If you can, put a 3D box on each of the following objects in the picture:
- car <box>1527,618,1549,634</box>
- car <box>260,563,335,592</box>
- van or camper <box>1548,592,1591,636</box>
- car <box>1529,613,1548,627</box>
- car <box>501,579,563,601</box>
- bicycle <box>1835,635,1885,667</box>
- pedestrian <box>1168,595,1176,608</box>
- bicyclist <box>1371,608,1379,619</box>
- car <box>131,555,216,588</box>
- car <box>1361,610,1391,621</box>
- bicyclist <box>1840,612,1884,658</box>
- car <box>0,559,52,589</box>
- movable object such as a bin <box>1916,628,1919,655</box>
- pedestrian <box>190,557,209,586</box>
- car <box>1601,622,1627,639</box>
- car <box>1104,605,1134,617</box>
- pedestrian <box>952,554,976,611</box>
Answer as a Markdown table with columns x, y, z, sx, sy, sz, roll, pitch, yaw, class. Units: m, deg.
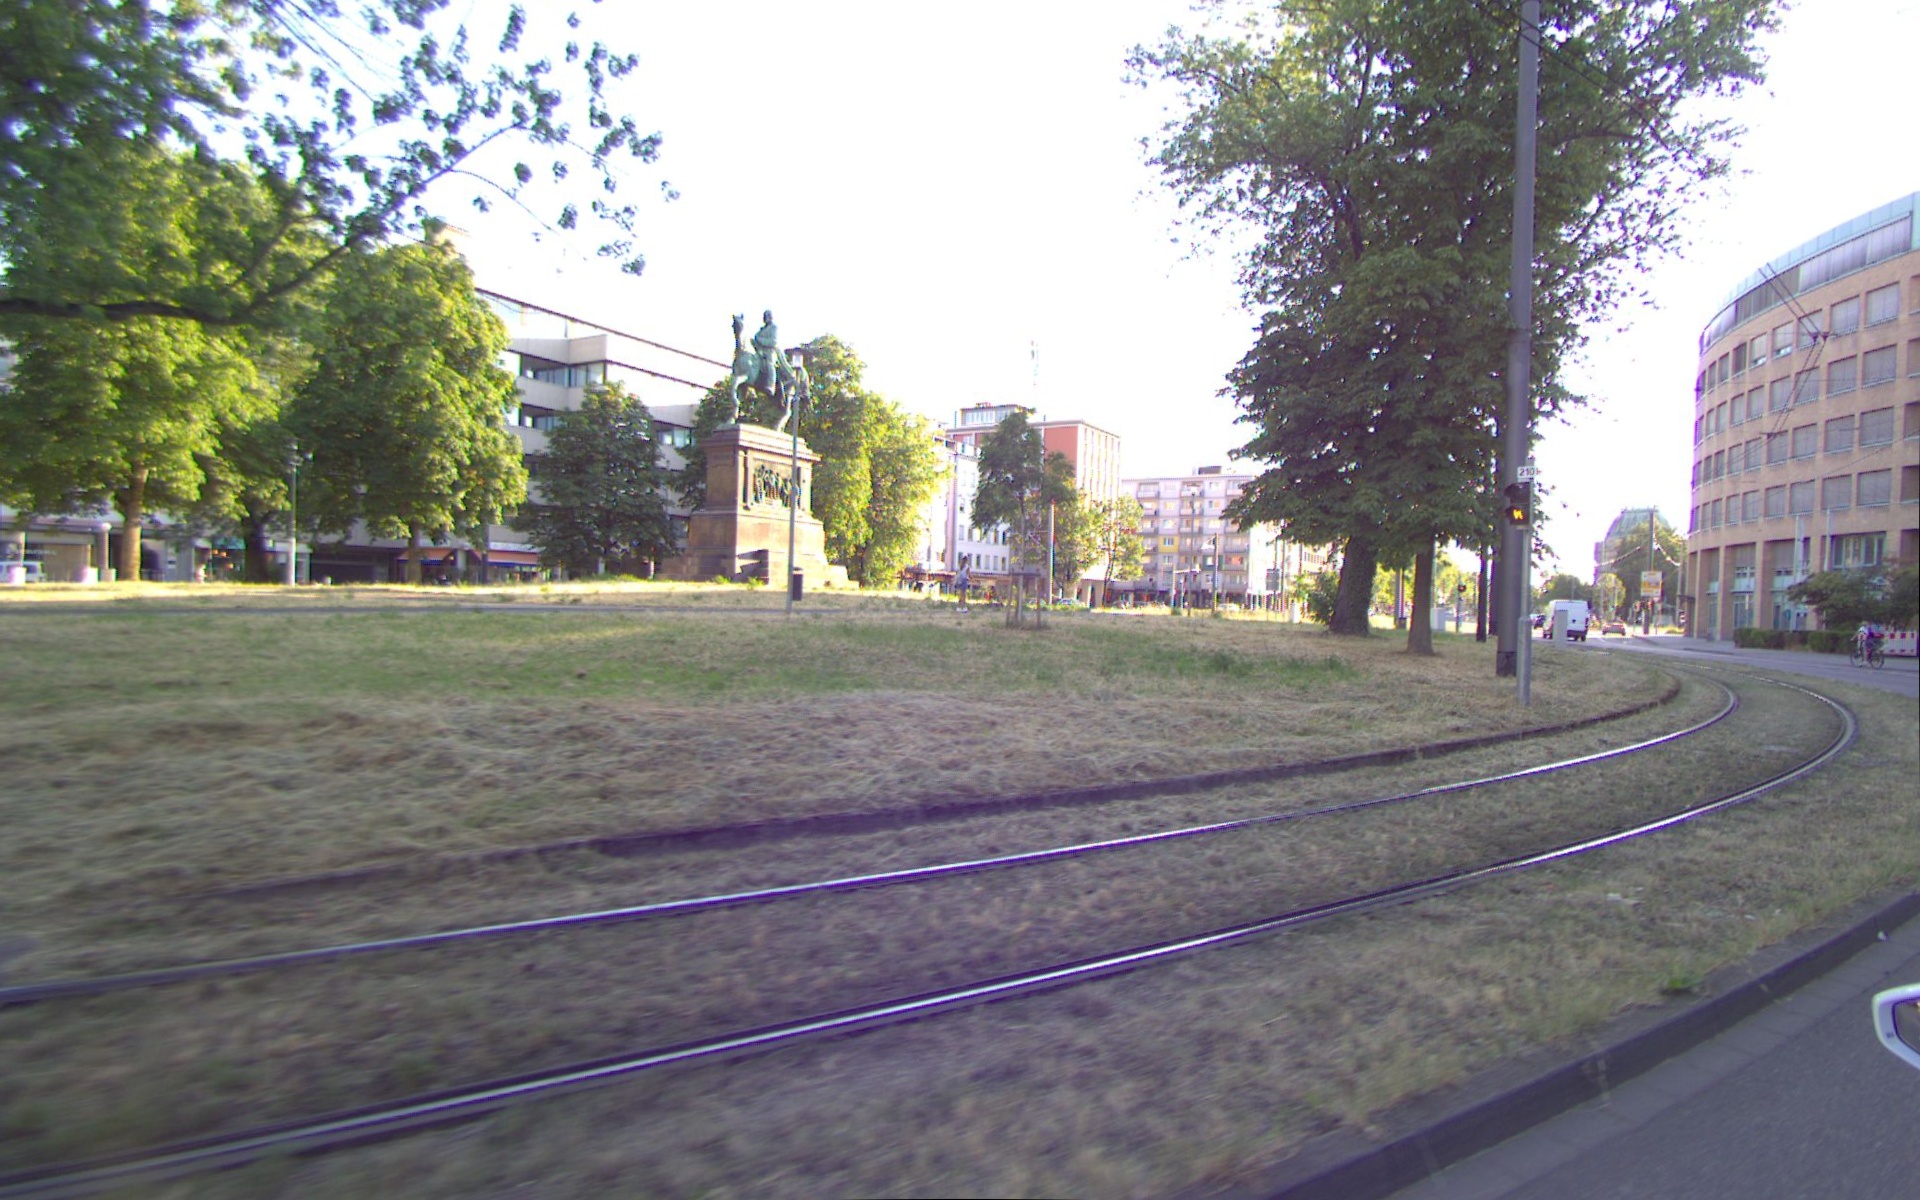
| x | y | z | sx | sy | sz | roll | pitch | yaw | class |
| --- | --- | --- | --- | --- | --- | --- | --- | --- | --- |
| 57.822 | 2.549 | 100.437 | 1.713 | 1.404 | 3.990 | 2 | 1 | 32 | car |
| -44.522 | -1.492 | 67.510 | 4.168 | 1.819 | 1.920 | 0 | 1 | -36 | car |
| 39.302 | 0.856 | 64.728 | 2.231 | 2.660 | 4.491 | 2 | 1 | 32 | van or camper |
| 69.255 | 2.384 | 120.199 | 1.767 | 1.587 | 3.994 | 2 | 1 | 28 | car |
| -32.532 | -0.783 | 76.375 | 4.029 | 1.577 | 1.847 | 0 | 1 | -36 | car |
| 31.245 | 1.764 | 34.904 | 0.506 | 0.967 | 1.776 | 3 | 1 | 16 | bicycle |
| 27.040 | 0.201 | 127.908 | 0.729 | 1.692 | 0.780 | 2 | 1 | 35 | pedestrian |
| 62.943 | 2.052 | 152.408 | 0.839 | 1.462 | 0.663 | 3 | 2 | 2 | bicyclist |
| -49.735 | -1.794 | 63.623 | 4.168 | 1.970 | 1.742 | 0 | 1 | -36 | car |
| 63.680 | 2.376 | 153.887 | 3.919 | 1.453 | 1.719 | 3 | 2 | 8 | car |
| 31.173 | 1.191 | 34.727 | 0.644 | 1.503 | 1.038 | 4 | 1 | 13 | bicyclist |
| -56.494 | -1.546 | 59.377 | 3.961 | 1.686 | 1.742 | 0 | 1 | -36 | car |
| 51.807 | 2.234 | 53.268 | 1.319 | 1.443 | 0.923 | 2 | 1 | 25 | movable object such as a bin |
| -45.376 | -1.696 | 59.921 | 0.791 | 1.724 | 0.793 | 1 | 2 | -31 | pedestrian |
| 60.242 | 2.764 | 92.636 | 1.757 | 1.372 | 4.257 | 3 | 1 | 31 | car |
| 22.320 | 1.523 | 141.185 | 3.805 | 1.606 | 1.801 | 2 | 1 | 27 | car |
| 0.125 | -0.542 | 30.794 | 0.467 | 1.712 | 0.836 | 1 | 0 | 17 | pedestrian |
